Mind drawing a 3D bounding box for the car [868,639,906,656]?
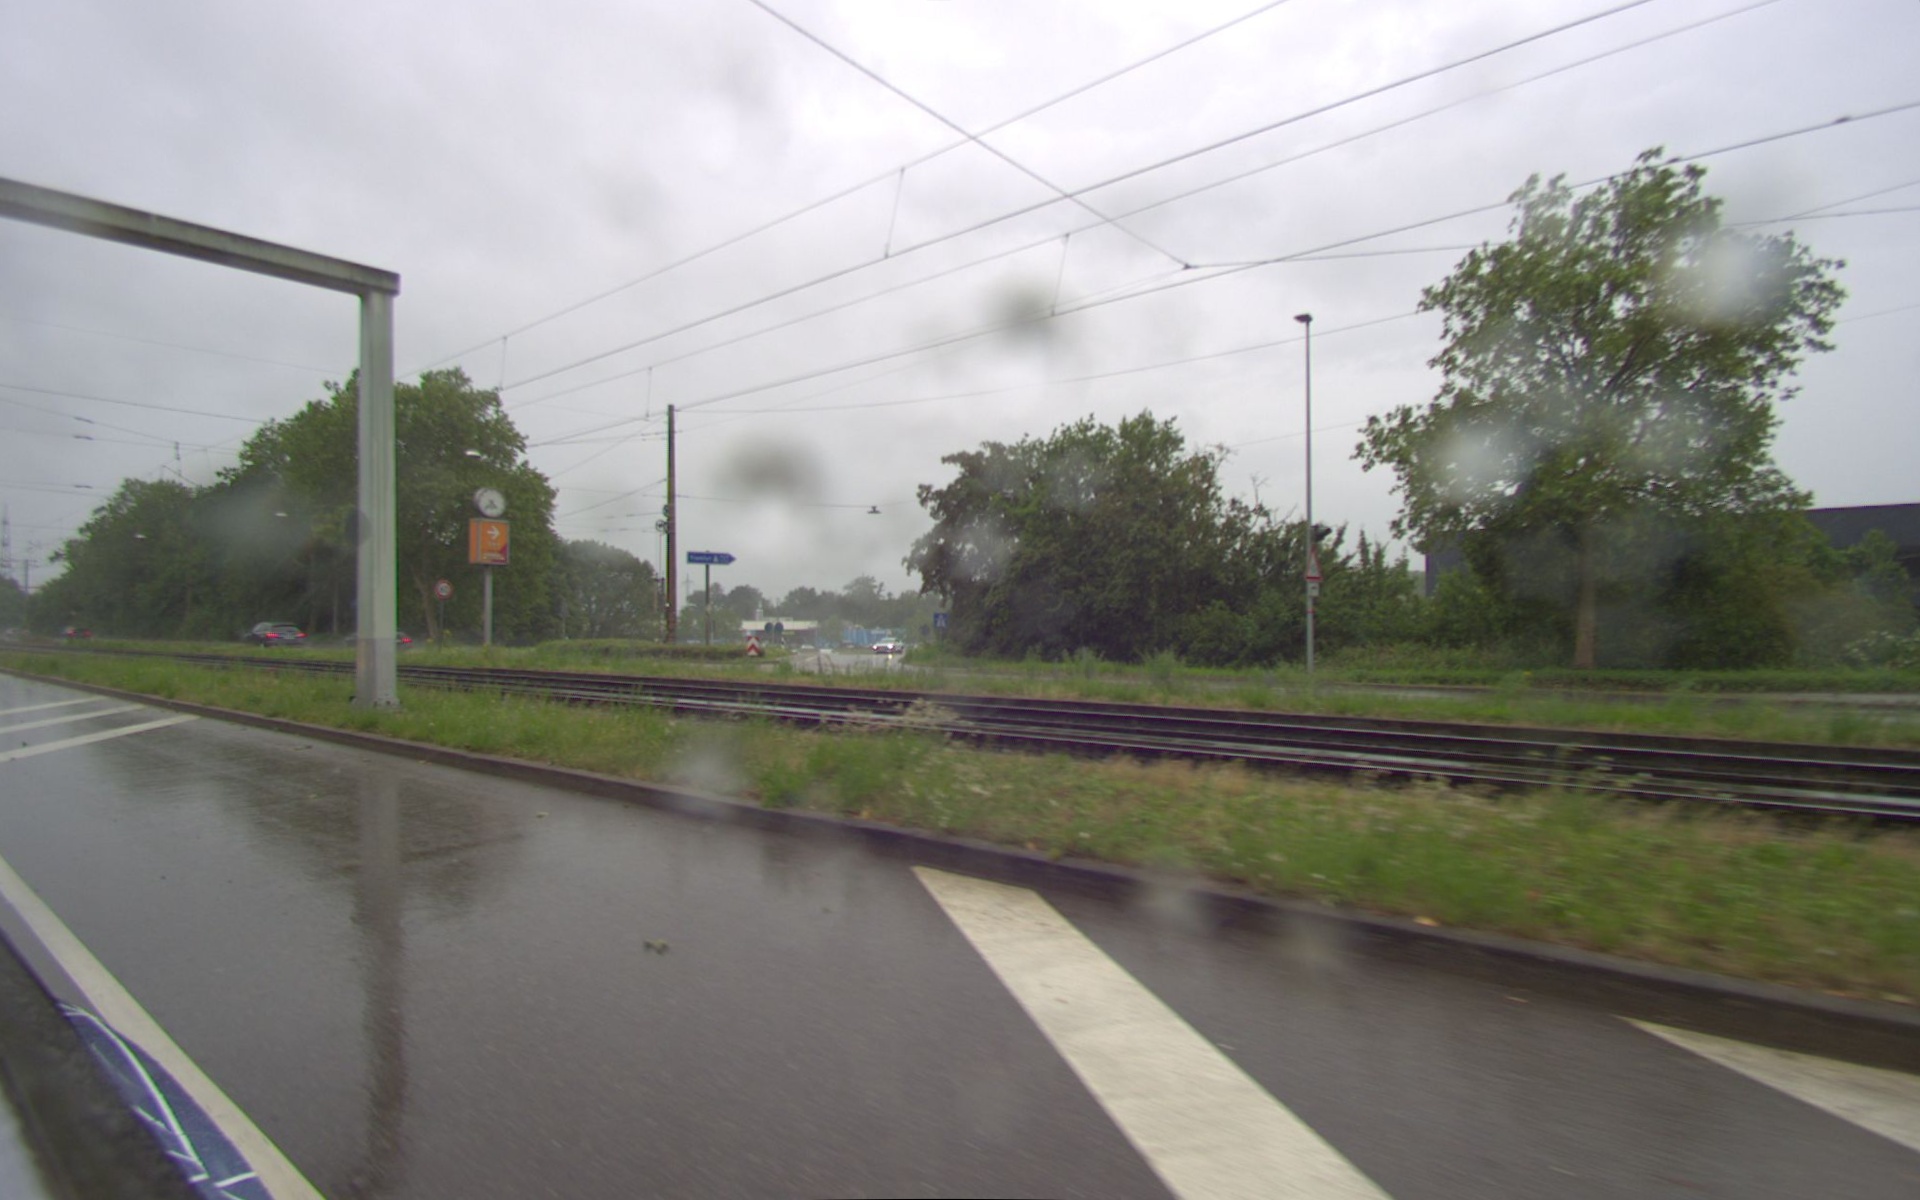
[{"bbox_3d":[-6.661,4.338,92.801,1.596,1.366,4.458,-1,-1,22],"label":"car"}]

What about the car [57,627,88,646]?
[{"bbox_3d":[-96.240,3.939,109.733,3.998,2.029,1.973,-2,-1,41],"label":"car"}]

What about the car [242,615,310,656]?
[{"bbox_3d":[-35.379,1.815,52.330,3.998,2.029,1.973,-2,-1,41],"label":"car"}]

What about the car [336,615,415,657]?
[{"bbox_3d":[-30.004,1.842,51.924,4.513,2.029,1.951,-1,-1,38],"label":"car"}]
